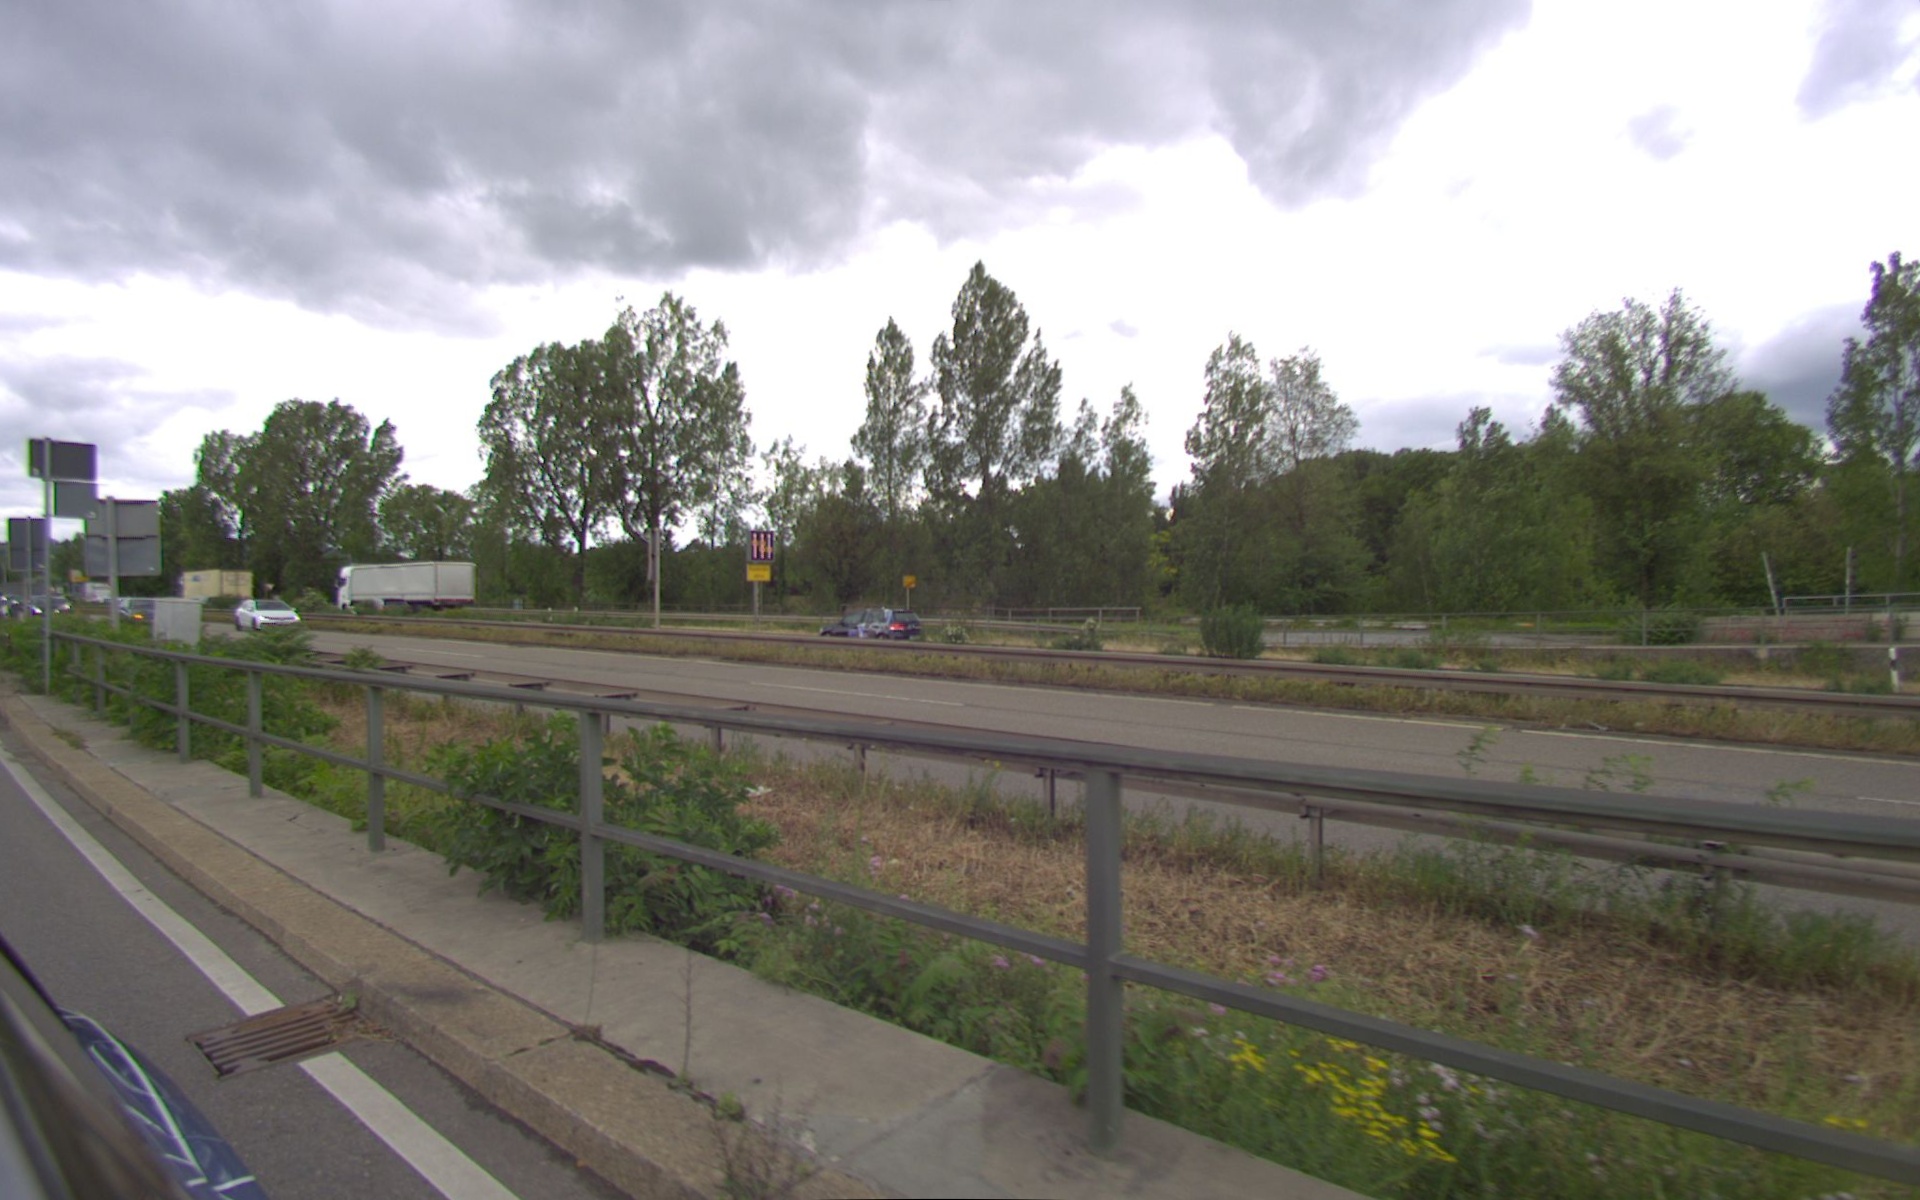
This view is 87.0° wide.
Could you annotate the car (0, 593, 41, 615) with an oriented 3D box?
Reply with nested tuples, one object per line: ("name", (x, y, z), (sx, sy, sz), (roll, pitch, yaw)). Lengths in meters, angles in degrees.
("car", (-91.774, 0.348, 98.837), (5.331, 2.029, 2.074), (1, 0, 38))

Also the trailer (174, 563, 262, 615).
("trailer", (-72.269, -0.979, 98.350), (14.769, 4.708, 3.429), (0, 1, 40))

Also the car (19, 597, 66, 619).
("car", (-58.152, 0.534, 64.112), (3.644, 1.337, 1.707), (-1, -1, 39))

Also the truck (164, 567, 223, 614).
("truck", (-78.364, -0.947, 103.444), (6.206, 4.708, 3.429), (0, 1, 40))

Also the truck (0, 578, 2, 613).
("truck", (-91.751, -0.449, 94.350), (7.567, 3.182, 2.999), (1, 0, 42))

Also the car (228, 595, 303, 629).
("car", (-31.659, 0.549, 46.116), (3.997, 1.511, 1.835), (-1, -1, 40))

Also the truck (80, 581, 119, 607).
("truck", (-126.403, -0.891, 148.626), (6.327, 3.670, 2.955), (-1, 2, 37))

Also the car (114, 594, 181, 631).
("car", (-35.473, 0.555, 44.140), (1.912, 1.512, 4.307), (1, -1, -44))

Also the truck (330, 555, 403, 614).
("truck", (-42.048, -1.105, 71.680), (5.308, 3.966, 2.762), (0, 2, 40))

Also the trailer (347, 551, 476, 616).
("trailer", (-36.519, -1.079, 66.987), (13.503, 3.978, 2.762), (0, 2, 40))

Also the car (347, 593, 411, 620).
("car", (-34.498, 0.355, 60.079), (3.995, 1.533, 1.974), (0, 2, 39))

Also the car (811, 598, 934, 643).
("car", (-3.024, 0.667, 34.619), (3.997, 1.446, 1.973), (-1, -1, 40))
